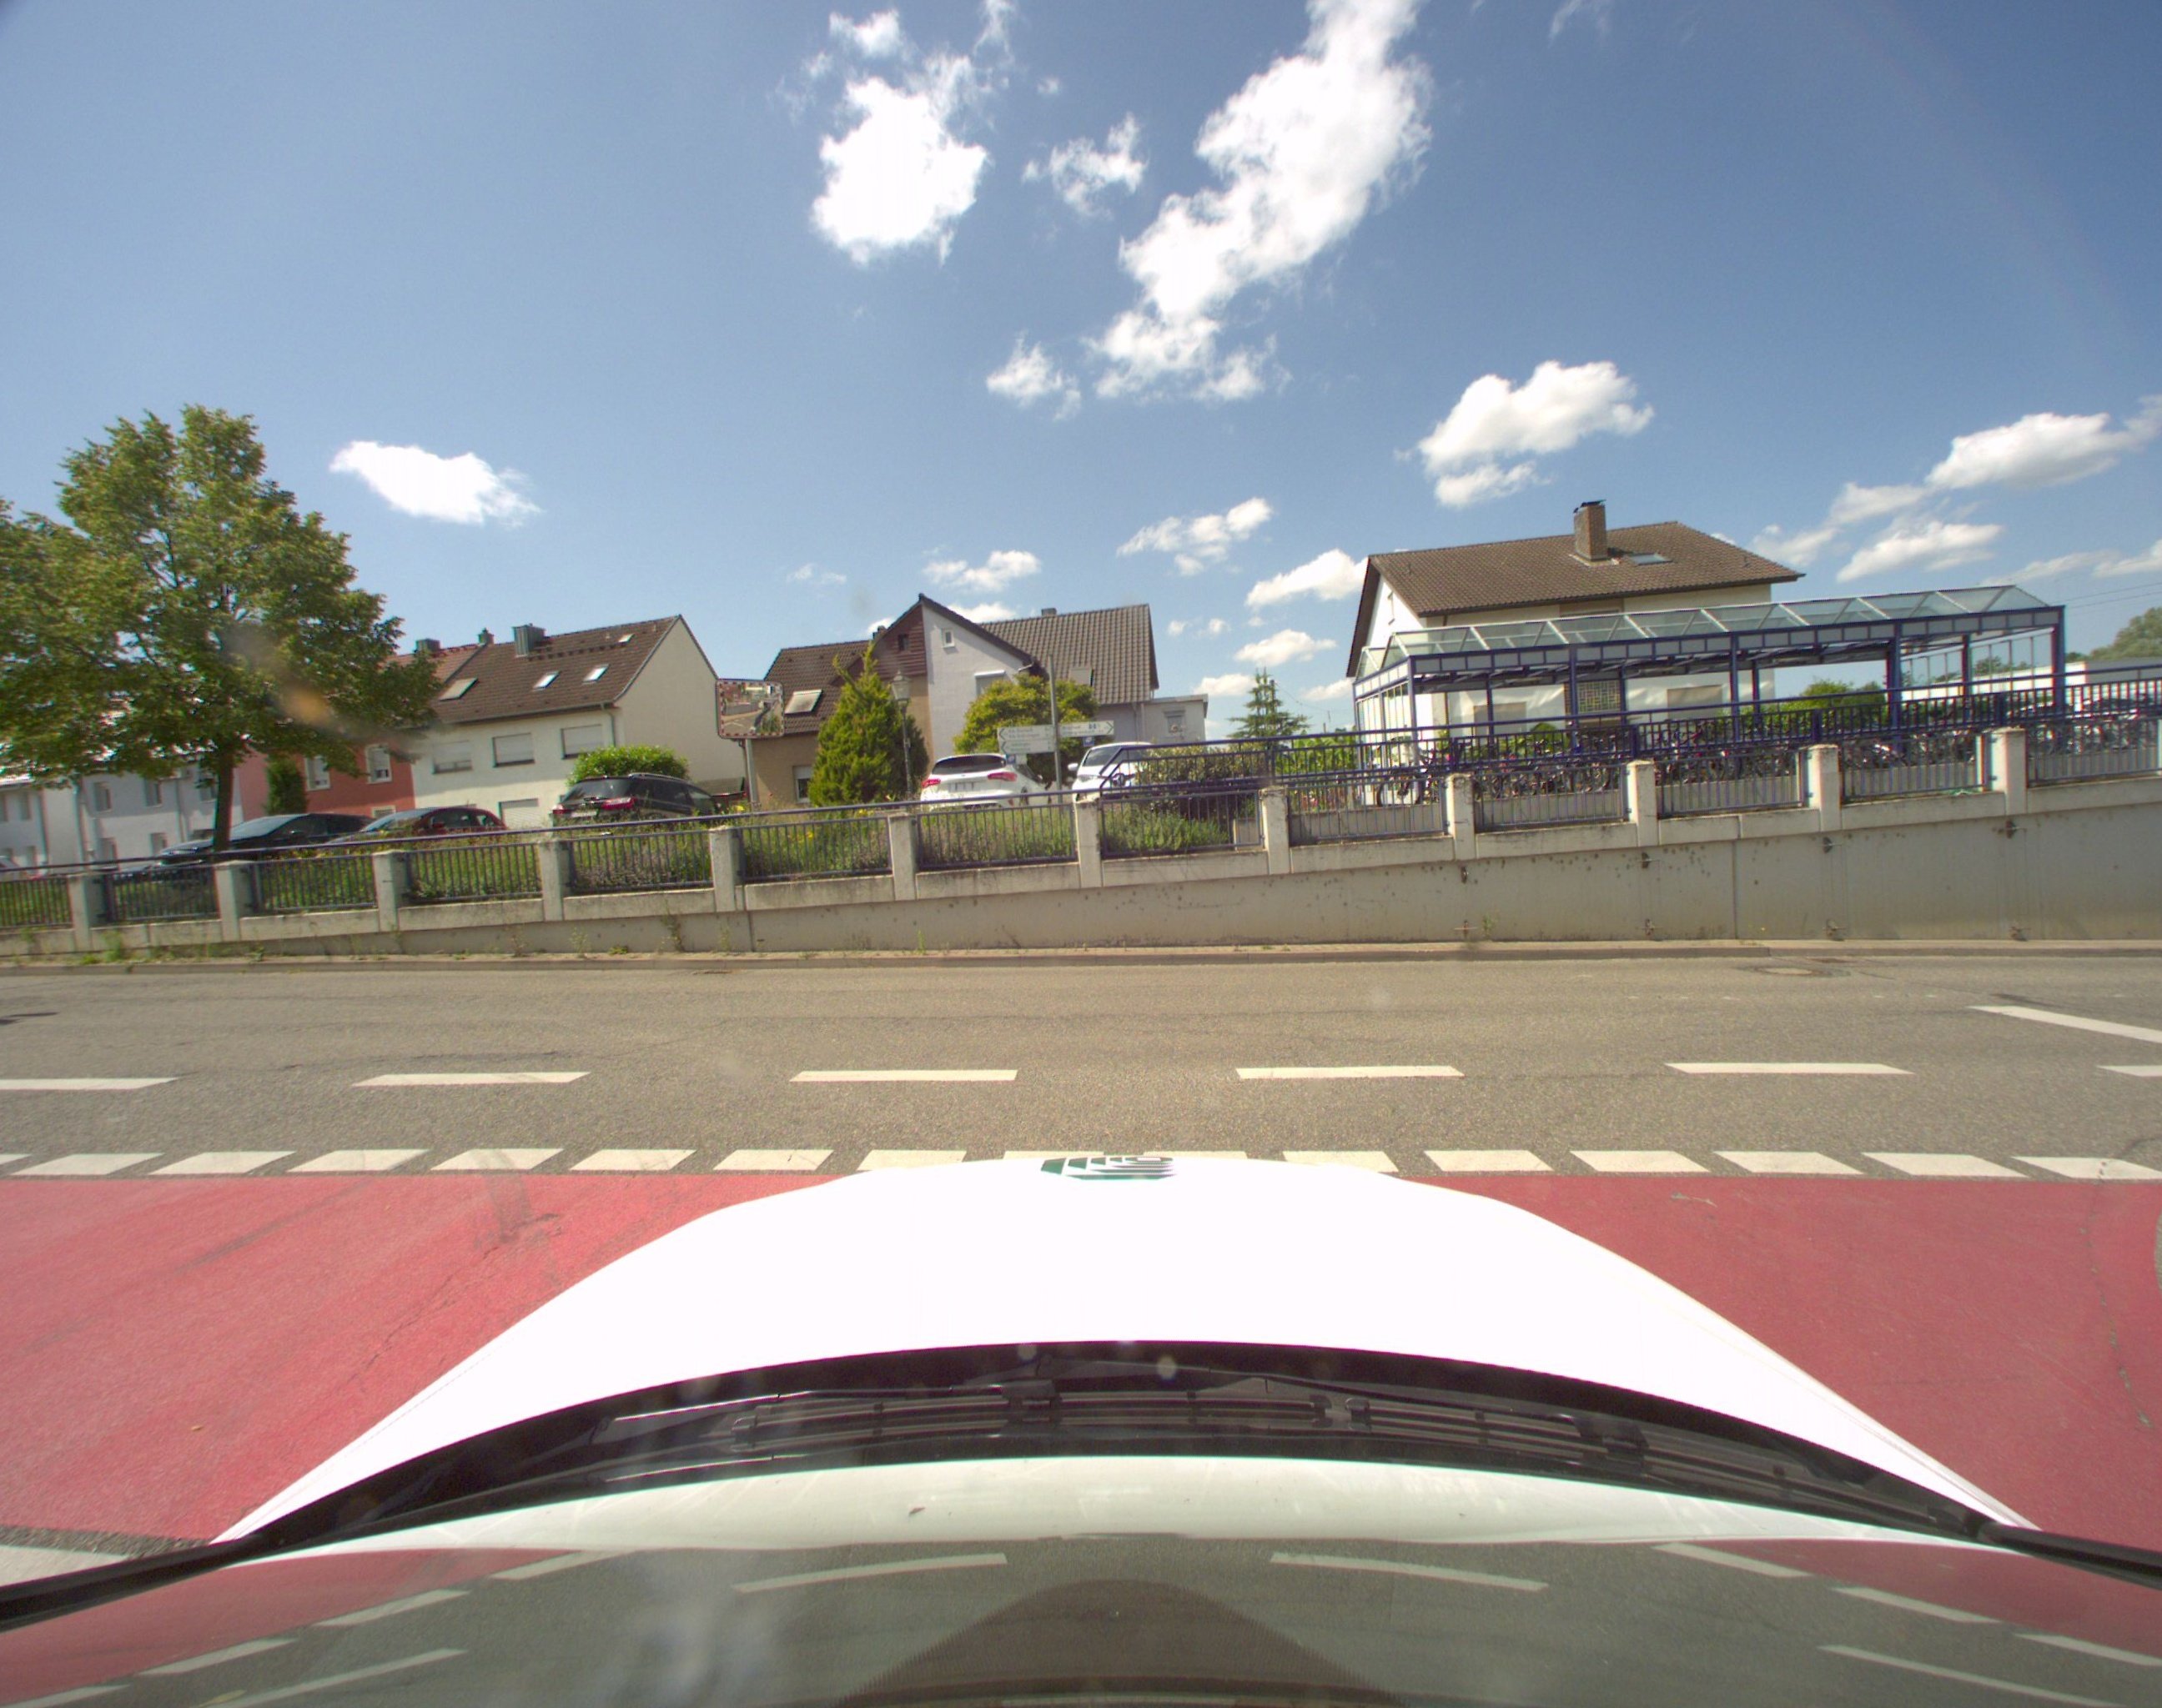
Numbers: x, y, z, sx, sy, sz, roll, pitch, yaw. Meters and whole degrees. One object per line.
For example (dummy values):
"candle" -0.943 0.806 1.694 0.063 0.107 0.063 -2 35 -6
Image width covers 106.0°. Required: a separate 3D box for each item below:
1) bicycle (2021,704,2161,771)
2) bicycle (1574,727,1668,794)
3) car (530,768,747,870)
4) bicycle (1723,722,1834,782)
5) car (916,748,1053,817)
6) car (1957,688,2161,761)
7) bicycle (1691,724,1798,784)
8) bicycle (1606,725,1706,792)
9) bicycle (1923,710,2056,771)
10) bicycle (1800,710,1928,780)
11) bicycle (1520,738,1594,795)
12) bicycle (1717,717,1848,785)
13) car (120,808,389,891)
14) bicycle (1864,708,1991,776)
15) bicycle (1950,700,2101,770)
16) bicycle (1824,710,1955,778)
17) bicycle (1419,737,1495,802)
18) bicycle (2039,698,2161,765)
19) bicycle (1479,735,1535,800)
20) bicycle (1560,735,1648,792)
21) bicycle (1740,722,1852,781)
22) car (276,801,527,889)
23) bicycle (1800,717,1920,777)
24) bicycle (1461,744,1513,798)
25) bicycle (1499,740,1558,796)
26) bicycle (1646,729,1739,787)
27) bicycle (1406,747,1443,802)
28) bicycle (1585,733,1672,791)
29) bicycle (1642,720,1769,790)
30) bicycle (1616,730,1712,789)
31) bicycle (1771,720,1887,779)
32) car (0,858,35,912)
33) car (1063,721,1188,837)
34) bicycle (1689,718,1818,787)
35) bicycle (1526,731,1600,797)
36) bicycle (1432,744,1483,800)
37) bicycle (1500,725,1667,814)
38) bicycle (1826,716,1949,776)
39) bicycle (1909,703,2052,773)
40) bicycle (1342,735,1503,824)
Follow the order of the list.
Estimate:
"bicycle" 18.207 -2.051 14.500 0.435 0.994 2.162 -3 3 0
"bicycle" 9.363 -1.583 14.221 0.433 0.994 2.288 -3 3 9
"car" -8.668 -0.649 16.423 1.858 1.797 4.007 0 1 6
"bicycle" 13.710 -1.973 16.076 0.517 0.994 1.966 -3 3 1
"car" -1.673 -1.270 15.290 1.815 1.019 3.466 0 1 6
"car" 29.675 -3.851 24.621 1.989 1.677 3.996 -4 3 -3
"bicycle" 12.977 -1.924 16.008 0.517 0.994 1.966 -3 3 1
"bicycle" 9.942 -1.618 14.182 0.433 0.994 2.288 -3 3 9
"bicycle" 17.858 -2.200 16.082 0.541 0.994 2.044 -3 3 7
"bicycle" 13.328 -1.820 13.958 0.574 0.994 2.197 -3 3 15
"bicycle" 9.540 -1.725 16.388 0.424 0.994 1.968 -3 3 4
"bicycle" 12.373 -1.783 14.469 0.530 0.994 2.190 -3 3 3
"car" -17.357 -0.110 17.384 1.858 1.586 3.616 0 1 6
"bicycle" 14.793 -1.928 14.307 0.512 0.994 2.047 -3 3 14
"bicycle" 16.339 -2.018 14.167 0.540 0.994 2.045 -3 3 10
"bicycle" 14.094 -1.883 14.279 0.512 0.994 2.044 -3 3 8
"bicycle" 6.563 -1.445 14.320 0.331 0.994 2.076 -3 3 0
"bicycle" 18.265 -2.146 14.316 0.541 0.994 2.042 -3 3 4
"bicycle" 7.216 -1.432 13.863 0.432 0.994 2.112 -3 3 17
"bicycle" 10.378 -1.771 16.238 0.472 0.994 1.966 -3 3 1
"bicycle" 14.276 -2.020 16.329 0.517 0.994 1.966 -3 3 1
"car" -13.634 -0.190 16.654 1.858 1.586 3.616 0 1 6
"bicycle" 15.470 -2.091 16.245 0.517 0.994 1.966 -3 3 1
"bicycle" 8.180 -1.643 16.466 0.370 0.994 1.972 -3 3 10
"bicycle" 8.897 -1.679 16.251 0.370 0.994 1.972 -3 3 10
"bicycle" 12.239 -1.894 16.357 0.517 0.994 1.802 -3 3 1
"bicycle" 6.715 -1.529 15.965 0.451 0.994 1.897 -3 3 17
"bicycle" 10.852 -1.800 16.219 0.412 0.994 1.966 -3 3 1
"bicycle" 10.701 -1.660 14.073 0.530 0.994 2.284 -3 3 3
"bicycle" 11.566 -1.846 16.239 0.517 0.994 1.966 -3 3 1
"bicycle" 14.885 -2.056 16.281 0.517 0.994 1.966 -3 3 1
"car" -31.527 0.904 21.607 1.730 1.488 4.272 0 1 13
"car" 0.937 -1.236 15.058 1.983 1.797 4.204 0 1 6
"bicycle" 11.679 -1.730 14.253 0.530 0.994 2.190 -3 3 3
"bicycle" 8.243 -1.503 14.007 0.432 0.994 2.110 -3 3 13
"bicycle" 7.410 -1.578 16.088 0.370 0.994 1.972 -3 3 10
"bicycle" 7.138 -1.194 11.598 2.108 1.125 0.392 -4 2 -1
"bicycle" 16.019 -2.126 16.239 0.517 0.994 1.966 -3 3 1
"bicycle" 15.523 -1.966 14.137 0.512 0.994 2.045 -3 3 10
"bicycle" 4.841 -1.048 11.570 2.108 1.125 0.333 -4 2 -1
